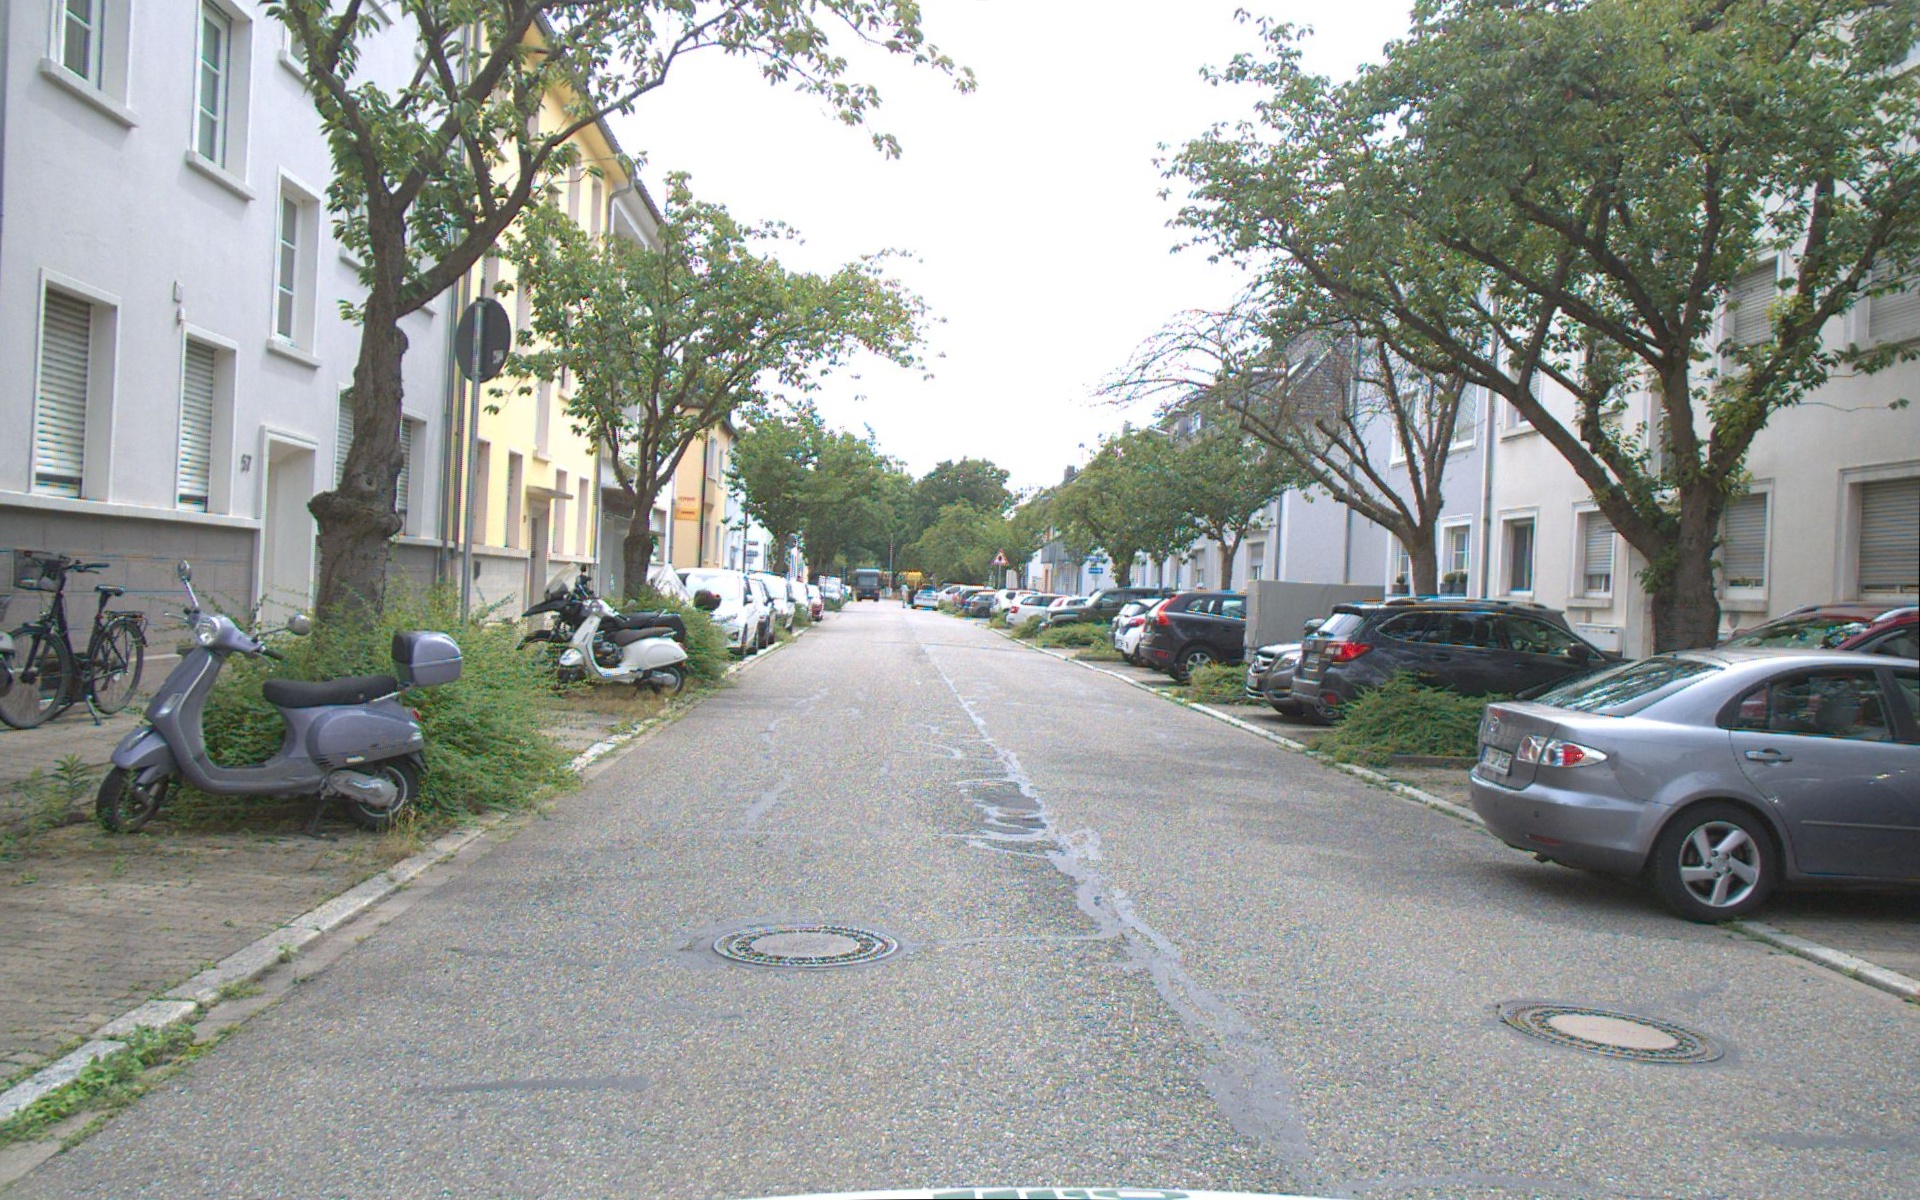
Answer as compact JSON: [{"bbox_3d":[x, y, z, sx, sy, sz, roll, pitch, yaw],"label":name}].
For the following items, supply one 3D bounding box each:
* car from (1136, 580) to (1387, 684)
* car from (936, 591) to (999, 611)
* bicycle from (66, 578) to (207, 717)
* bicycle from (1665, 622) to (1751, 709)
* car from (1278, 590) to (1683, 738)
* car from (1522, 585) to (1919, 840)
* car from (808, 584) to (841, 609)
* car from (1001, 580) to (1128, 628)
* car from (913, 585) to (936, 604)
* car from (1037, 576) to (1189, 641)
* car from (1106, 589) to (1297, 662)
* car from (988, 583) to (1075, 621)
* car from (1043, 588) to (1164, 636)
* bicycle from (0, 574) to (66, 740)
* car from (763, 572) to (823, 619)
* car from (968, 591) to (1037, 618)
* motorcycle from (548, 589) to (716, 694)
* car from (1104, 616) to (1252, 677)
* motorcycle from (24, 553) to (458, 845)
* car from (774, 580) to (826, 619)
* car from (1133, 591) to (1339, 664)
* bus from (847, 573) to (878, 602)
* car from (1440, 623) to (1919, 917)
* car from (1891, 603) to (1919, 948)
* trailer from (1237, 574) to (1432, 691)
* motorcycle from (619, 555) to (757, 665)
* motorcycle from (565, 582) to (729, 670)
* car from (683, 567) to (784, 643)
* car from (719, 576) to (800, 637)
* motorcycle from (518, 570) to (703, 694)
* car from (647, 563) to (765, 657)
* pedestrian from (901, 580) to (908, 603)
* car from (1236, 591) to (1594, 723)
[{"bbox_3d":[5.327,0.551,29.608,4.129,1.766,1.903,1,0,-1],"label":"car"},{"bbox_3d":[0.582,0.094,130.904,4.877,1.545,1.767,1,0,-5],"label":"car"},{"bbox_3d":[-6.436,0.354,12.988,0.412,1.024,1.433,1,0,-2],"label":"bicycle"},{"bbox_3d":[9.963,0.849,22.070,0.493,1.100,1.472,1,0,0],"label":"bicycle"},{"bbox_3d":[6.017,0.723,19.400,4.132,1.626,1.902,1,0,-5],"label":"car"},{"bbox_3d":[6.503,0.769,12.118,4.129,1.707,1.903,1,0,-1],"label":"car"},{"bbox_3d":[-8.597,-0.216,105.038,1.727,1.581,3.731,1,0,0],"label":"car"},{"bbox_3d":[3.836,0.142,61.241,4.522,1.693,1.892,1,0,-2],"label":"car"},{"bbox_3d":[-2.620,-0.414,122.379,1.653,1.378,3.825,1,0,-2],"label":"car"},{"bbox_3d":[4.589,0.249,50.045,4.433,1.890,1.793,1,0,-1],"label":"car"},{"bbox_3d":[5.354,0.555,36.872,3.910,1.557,1.766,1,0,-6],"label":"car"},{"bbox_3d":[3.219,0.097,75.075,3.845,1.661,1.867,1,0,-2],"label":"car"},{"bbox_3d":[4.549,0.389,52.808,3.556,1.480,1.770,1,0,-7],"label":"car"},{"bbox_3d":[-6.142,0.349,10.282,0.412,1.024,1.433,1,0,-2],"label":"bicycle"},{"bbox_3d":[-6.133,-0.156,61.156,1.737,1.415,4.273,8,0,-2],"label":"car"},{"bbox_3d":[2.300,0.244,90.702,3.672,1.389,1.772,1,0,-2],"label":"car"},{"bbox_3d":[-3.930,0.485,19.875,1.885,1.212,0.591,1,0,-30],"label":"motorcycle"},{"bbox_3d":[5.570,1.181,42.526,3.473,1.478,1.808,1,0,-4],"label":"car"},{"bbox_3d":[-3.720,0.494,8.749,1.978,1.432,0.789,1,0,-14],"label":"motorcycle"},{"bbox_3d":[-6.393,-0.020,66.522,1.839,1.512,4.510,1,0,-3],"label":"car"},{"bbox_3d":[5.696,0.560,34.382,3.910,1.435,1.766,1,0,-6],"label":"car"},{"bbox_3d":[-9.534,-1.206,162.134,2.944,2.809,8.918,1,0,-3],"label":"bus"},{"bbox_3d":[4.975,0.902,9.497,3.908,1.480,1.765,1,0,-4],"label":"car"},{"bbox_3d":[6.347,0.816,7.038,3.908,1.563,1.637,1,0,-4],"label":"car"},{"bbox_3d":[6.137,0.522,27.263,2.900,1.863,1.401,1,0,0],"label":"trailer"},{"bbox_3d":[-4.490,0.146,27.221,2.432,1.705,0.932,3,0,44],"label":"motorcycle"},{"bbox_3d":[-4.824,0.399,25.568,2.399,1.334,0.643,1,0,-2],"label":"motorcycle"},{"bbox_3d":[-5.043,0.121,37.394,1.755,1.518,4.809,3,-1,-2],"label":"car"},{"bbox_3d":[-5.507,0.174,45.849,1.880,1.609,4.380,1,0,-2],"label":"car"},{"bbox_3d":[-4.394,0.393,20.854,2.207,1.507,0.591,1,0,-30],"label":"motorcycle"},{"bbox_3d":[-4.725,0.177,31.246,1.722,1.583,4.253,2,0,-3],"label":"car"},{"bbox_3d":[-4.070,-0.630,121.835,0.511,1.734,0.444,1,0,1],"label":"pedestrian"},{"bbox_3d":[5.899,0.720,21.730,4.133,1.626,1.902,1,0,-5],"label":"car"}]
